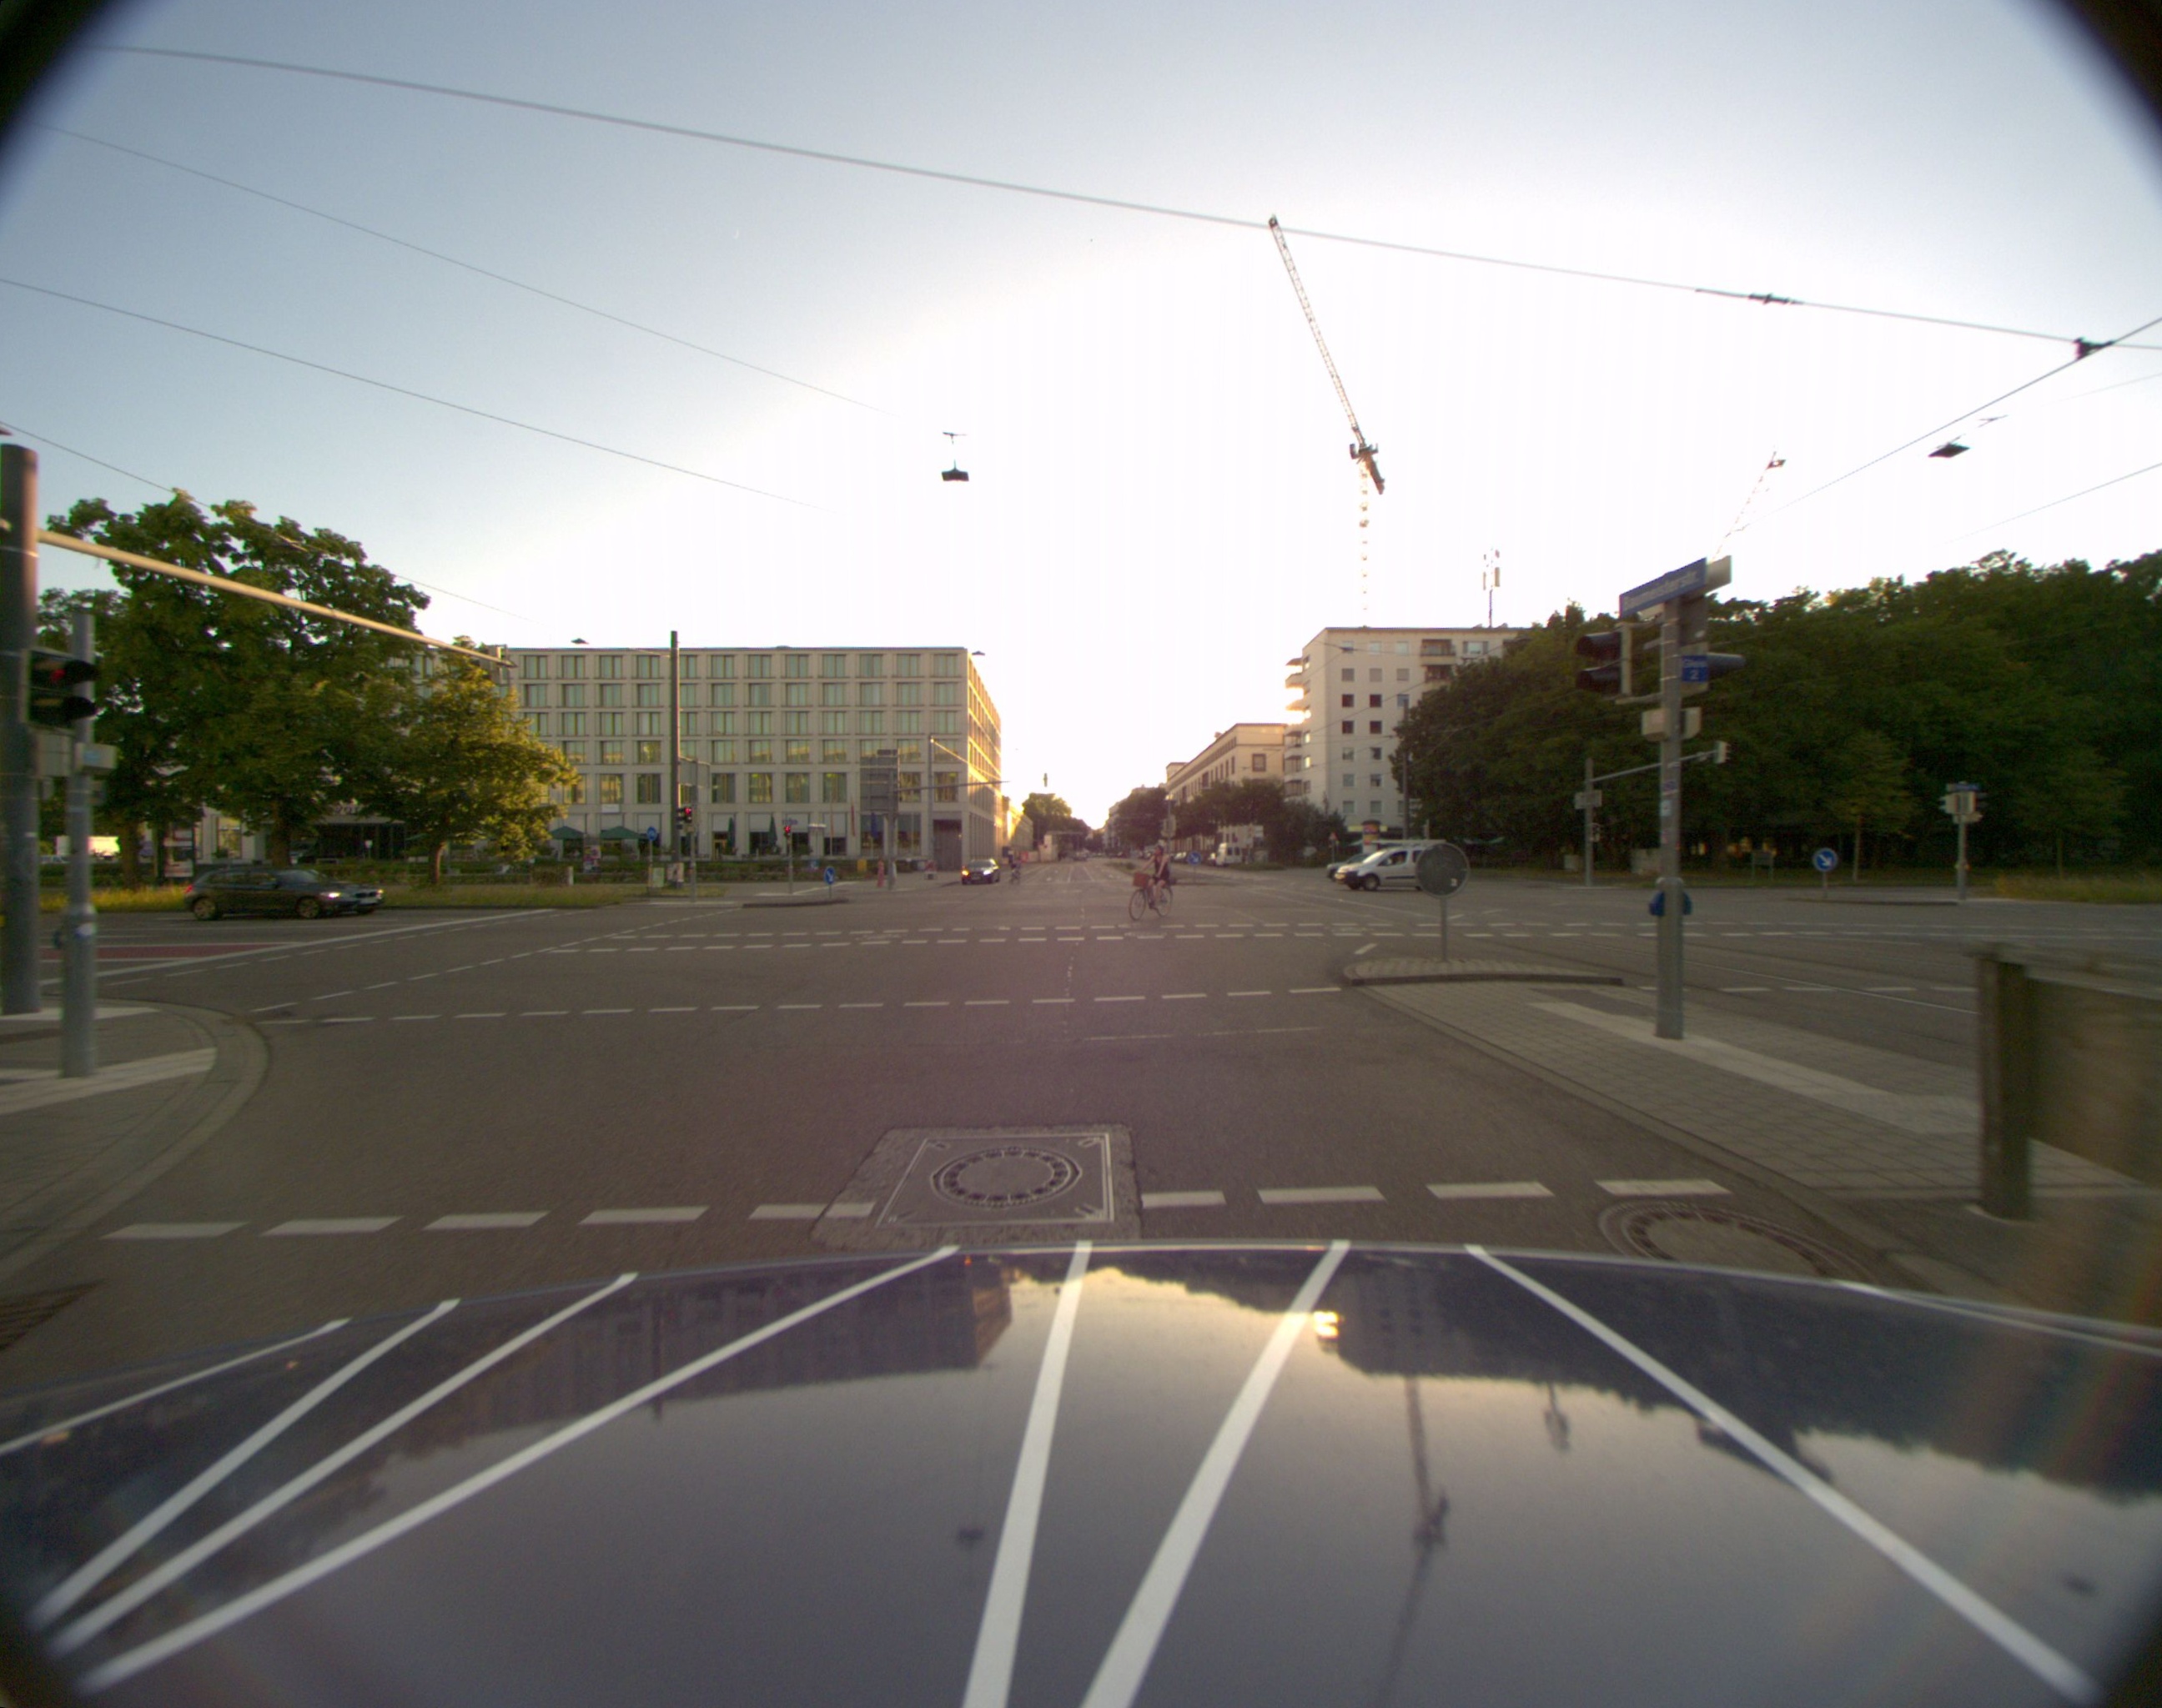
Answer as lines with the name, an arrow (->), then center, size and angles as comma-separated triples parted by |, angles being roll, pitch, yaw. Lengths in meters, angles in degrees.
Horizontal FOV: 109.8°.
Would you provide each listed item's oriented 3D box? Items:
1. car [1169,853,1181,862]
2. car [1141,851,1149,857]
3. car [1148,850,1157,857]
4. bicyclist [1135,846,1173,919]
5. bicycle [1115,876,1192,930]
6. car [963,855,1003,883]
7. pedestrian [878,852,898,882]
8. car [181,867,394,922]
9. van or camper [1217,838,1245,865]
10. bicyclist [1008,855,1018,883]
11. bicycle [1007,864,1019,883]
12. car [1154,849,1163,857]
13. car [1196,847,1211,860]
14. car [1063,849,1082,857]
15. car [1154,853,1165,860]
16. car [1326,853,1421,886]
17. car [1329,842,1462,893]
car -> 15.491, 0.609, 125.706 | 1.722, 1.422, 3.810 | 0, 0, 3
car -> 15.159, 0.065, 179.885 | 1.722, 1.422, 3.810 | 0, 0, 3
car -> 15.627, -0.108, 165.604 | 1.722, 1.422, 3.810 | 0, 0, 3
bicyclist -> 1.673, 0.637, 17.464 | 0.608, 1.626, 0.598 | 0, 1, 44
bicycle -> 1.691, 1.097, 17.467 | 0.608, 1.108, 2.091 | 0, 0, 44
car -> -6.015, 0.888, 47.223 | 1.816, 1.514, 4.810 | -2, 0, -1
pedestrian -> -10.524, 0.726, 41.519 | 0.736, 1.617, 0.727 | 0, 1, 32
car -> -22.015, 1.103, 21.198 | 4.170, 1.412, 1.698 | 0, 1, 1
van or camper -> 15.697, -0.252, 79.594 | 2.110, 2.666, 4.710 | 0, 0, 1
bicyclist -> -3.957, 0.847, 44.050 | 0.541, 1.626, 0.597 | 0, 1, 0
bicycle -> -3.950, 1.137, 44.209 | 0.540, 1.045, 1.761 | 0, 0, 0
car -> 15.335, -0.165, 150.101 | 1.721, 1.478, 3.810 | 0, 0, 4
car -> 16.792, -0.083, 104.390 | 1.722, 1.695, 3.810 | 0, 0, 3
car -> -1.672, -0.145, 151.320 | 3.807, 1.639, 1.863 | 0, 0, -1
car -> 14.984, 0.499, 145.049 | 1.722, 1.422, 3.810 | 0, 0, 3
car -> 15.551, 0.806, 40.534 | 1.891, 1.654, 4.333 | -1, 0, -40
car -> 12.292, 0.528, 29.857 | 4.462, 1.900, 1.805 | 0, 0, -2
